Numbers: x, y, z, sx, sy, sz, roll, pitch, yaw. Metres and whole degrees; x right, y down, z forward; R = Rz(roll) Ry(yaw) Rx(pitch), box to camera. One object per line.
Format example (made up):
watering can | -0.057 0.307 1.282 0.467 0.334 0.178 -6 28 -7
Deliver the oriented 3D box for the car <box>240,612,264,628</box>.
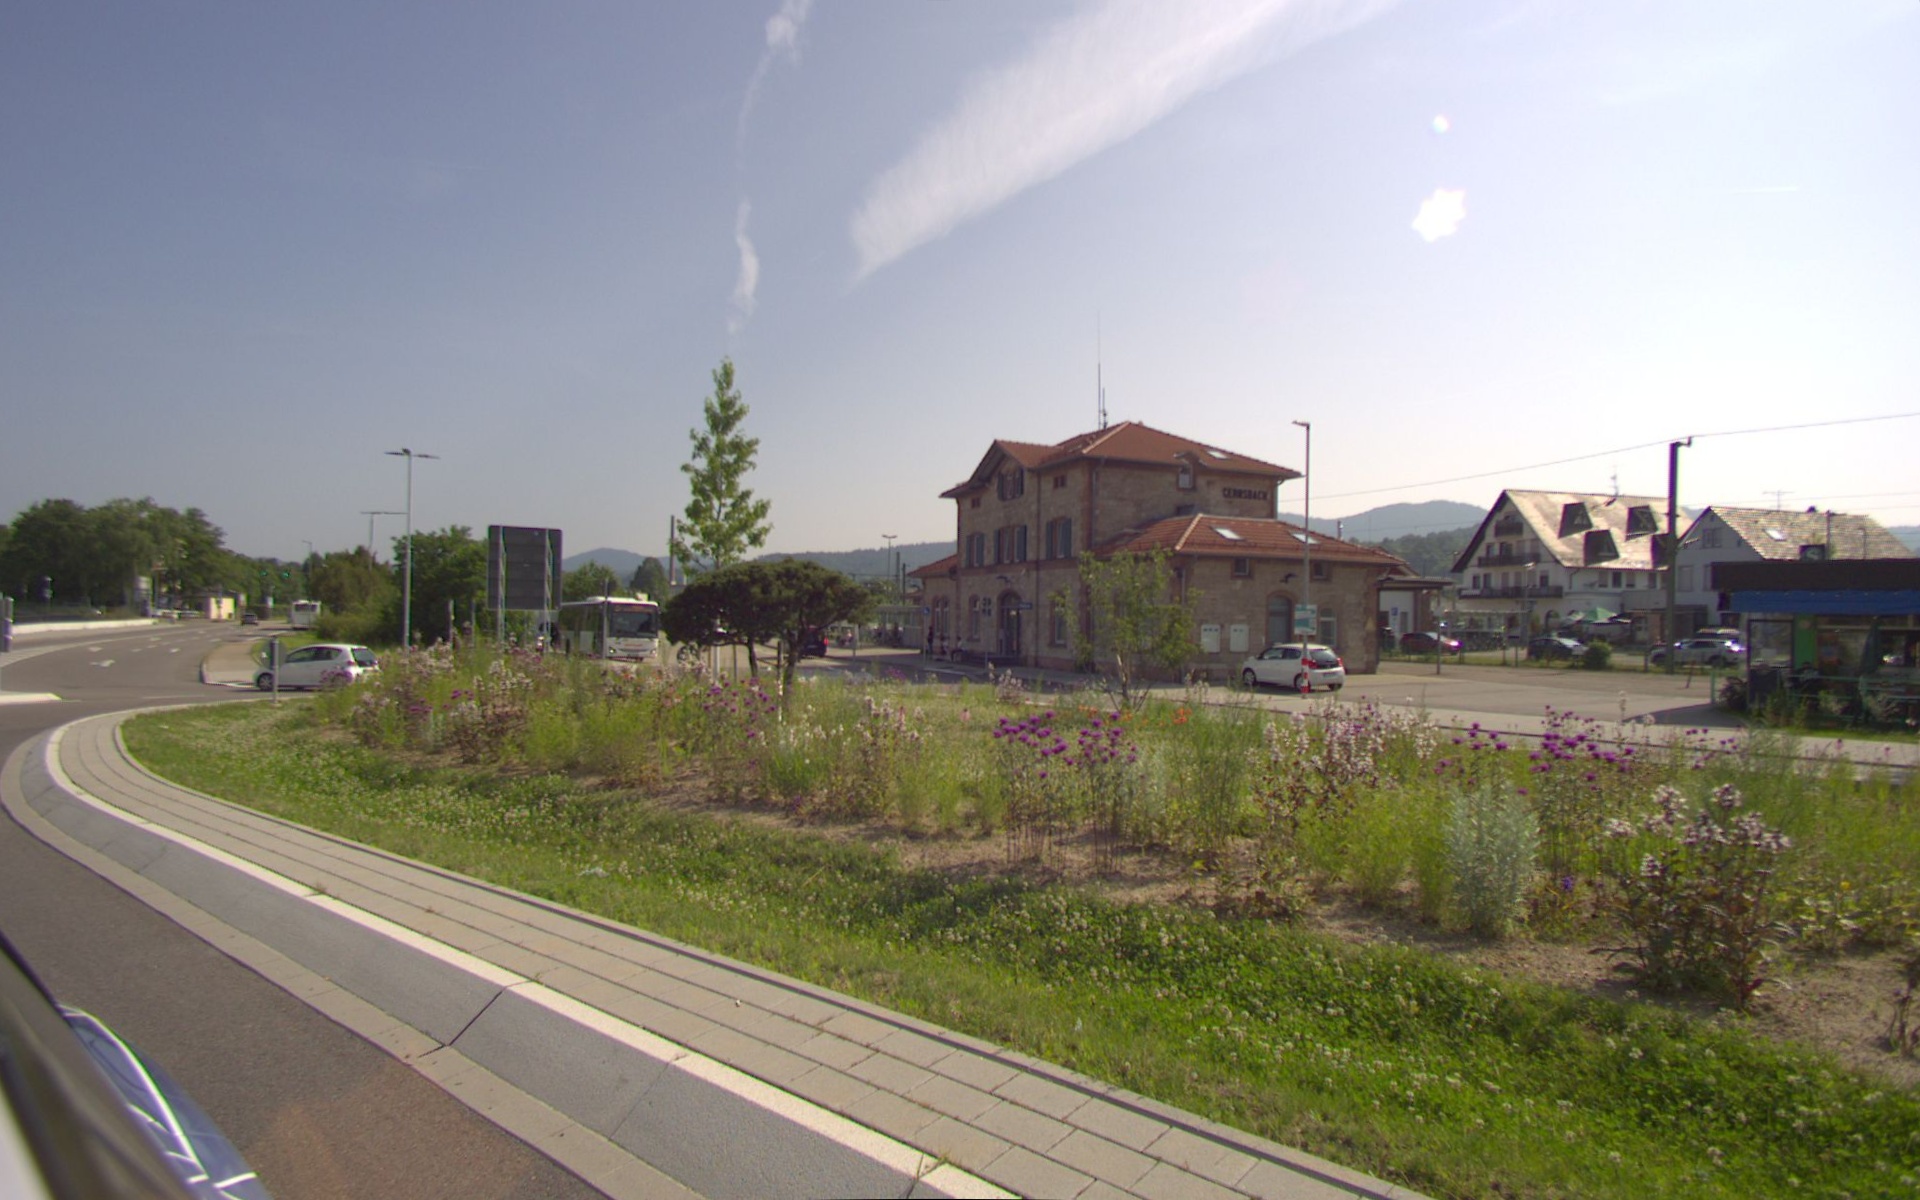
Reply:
car | -83.913 2.331 119.888 1.857 1.807 4.005 -1 0 -42

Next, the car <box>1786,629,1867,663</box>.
car | 46.651 2.440 54.467 3.931 1.614 1.720 -1 0 -23

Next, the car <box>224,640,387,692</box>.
car | -20.229 2.020 31.364 3.947 1.408 1.781 -1 0 3

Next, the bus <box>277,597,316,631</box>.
bus | -67.325 1.388 102.829 2.821 3.216 9.145 0 0 -30

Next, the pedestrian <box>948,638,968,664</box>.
pedestrian | -0.086 2.416 48.328 0.777 1.171 0.508 -1 0 -23

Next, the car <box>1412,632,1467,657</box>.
car | 33.351 3.086 70.484 1.581 1.506 3.659 -1 1 -9

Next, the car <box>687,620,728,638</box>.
car | -27.846 3.167 111.554 3.939 1.740 1.840 -2 0 -43

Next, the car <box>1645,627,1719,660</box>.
car | 43.619 2.591 61.150 3.931 1.740 1.844 -1 0 -23

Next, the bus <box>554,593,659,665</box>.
bus | -18.604 1.414 52.715 2.545 3.354 10.617 -1 0 -34

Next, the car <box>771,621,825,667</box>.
car | -7.880 2.071 48.887 1.945 1.979 5.172 -1 0 -15

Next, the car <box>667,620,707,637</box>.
car | -31.115 3.233 115.493 3.939 1.740 1.840 -2 0 -43

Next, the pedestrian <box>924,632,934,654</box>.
pedestrian | -1.667 2.338 55.126 0.365 1.171 0.508 -1 0 -23

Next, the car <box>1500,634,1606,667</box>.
car | 25.652 2.165 43.875 1.406 1.186 3.747 -1 1 -39

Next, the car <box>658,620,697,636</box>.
car | -33.387 3.275 119.667 3.939 1.740 1.840 -2 0 -43

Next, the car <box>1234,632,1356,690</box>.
car | 10.926 1.951 33.208 1.651 1.580 3.663 -1 1 -29

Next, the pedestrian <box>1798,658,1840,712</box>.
pedestrian | 19.558 1.925 23.031 0.681 1.173 0.551 -1 0 44

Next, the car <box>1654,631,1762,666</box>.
car | 37.875 2.412 51.345 1.752 1.630 4.012 -1 -1 -28

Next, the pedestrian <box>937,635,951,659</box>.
pedestrian | -0.780 2.332 50.191 0.503 1.171 0.508 -1 0 -23
